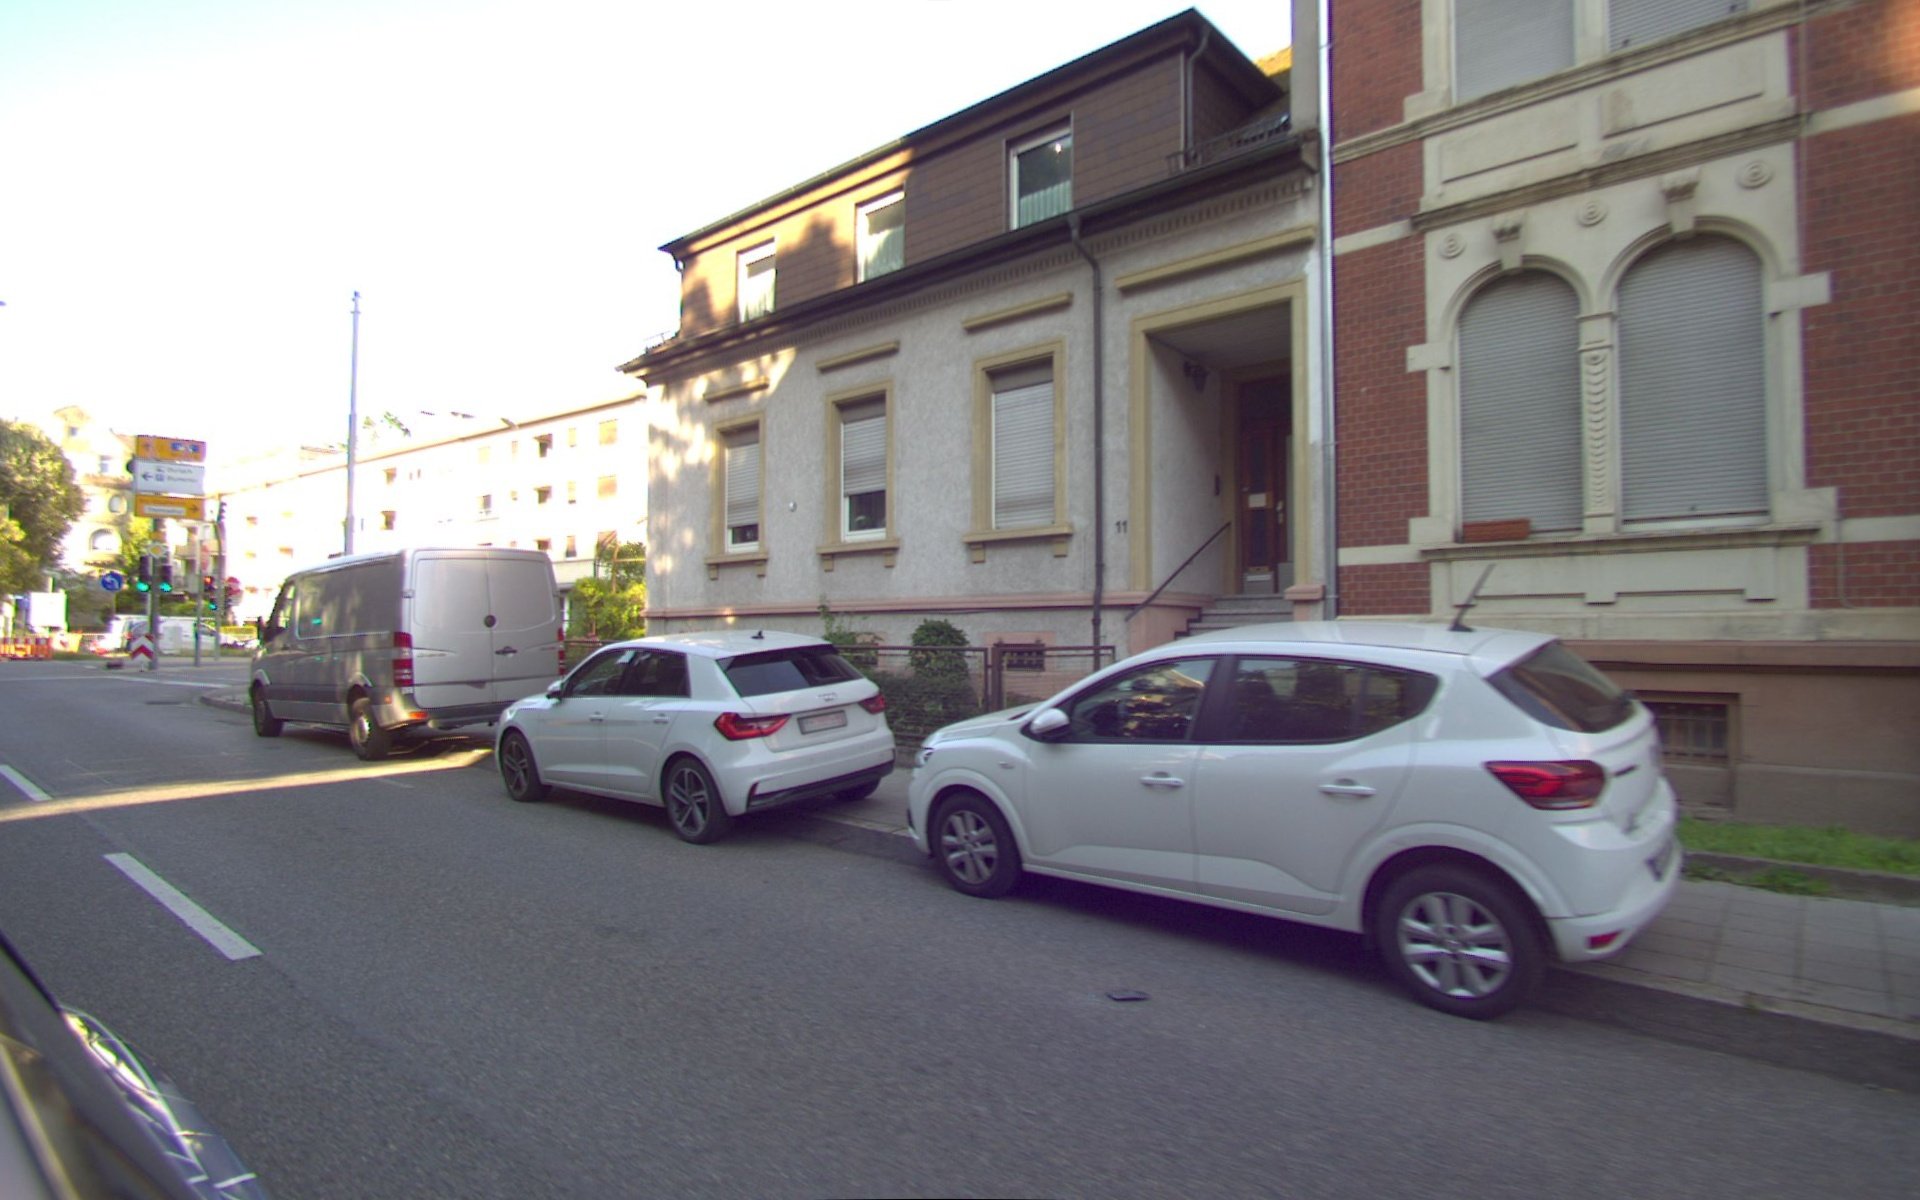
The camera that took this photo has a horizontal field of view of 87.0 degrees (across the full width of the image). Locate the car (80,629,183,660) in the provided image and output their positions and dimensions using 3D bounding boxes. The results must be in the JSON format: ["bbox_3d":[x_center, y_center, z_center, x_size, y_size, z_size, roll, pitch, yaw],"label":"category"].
[{"bbox_3d":[-44.770,2.407,54.746,1.996,1.490,3.955,-3,-1,36],"label":"car"}]

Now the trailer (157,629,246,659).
[{"bbox_3d":[-37.389,2.162,49.930,1.571,1.407,3.225,-3,-2,35],"label":"trailer"}]

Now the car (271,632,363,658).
[{"bbox_3d":[-38.791,2.705,61.114,1.998,1.409,4.270,-3,-2,39],"label":"car"}]

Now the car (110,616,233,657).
[{"bbox_3d":[-40.333,1.841,51.868,2.113,1.980,4.626,-3,-2,35],"label":"car"}]

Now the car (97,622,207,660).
[{"bbox_3d":[-42.664,2.158,53.522,1.998,1.866,4.270,-3,-2,40],"label":"car"}]

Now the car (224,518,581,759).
[{"bbox_3d":[-7.448,0.469,13.161,6.009,2.479,2.047,-2,-2,40],"label":"car"}]

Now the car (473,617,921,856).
[{"bbox_3d":[-2.297,0.921,8.328,3.820,1.514,1.685,-2,-2,40],"label":"car"}]

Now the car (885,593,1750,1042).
[{"bbox_3d":[1.591,0.784,5.417,4.020,1.514,1.684,-2,-2,43],"label":"car"}]

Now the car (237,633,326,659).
[{"bbox_3d":[-42.430,2.855,63.374,1.998,1.522,4.270,-3,-2,39],"label":"car"}]

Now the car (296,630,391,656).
[{"bbox_3d":[-35.282,2.451,57.977,1.998,1.409,4.270,-3,-2,39],"label":"car"}]
